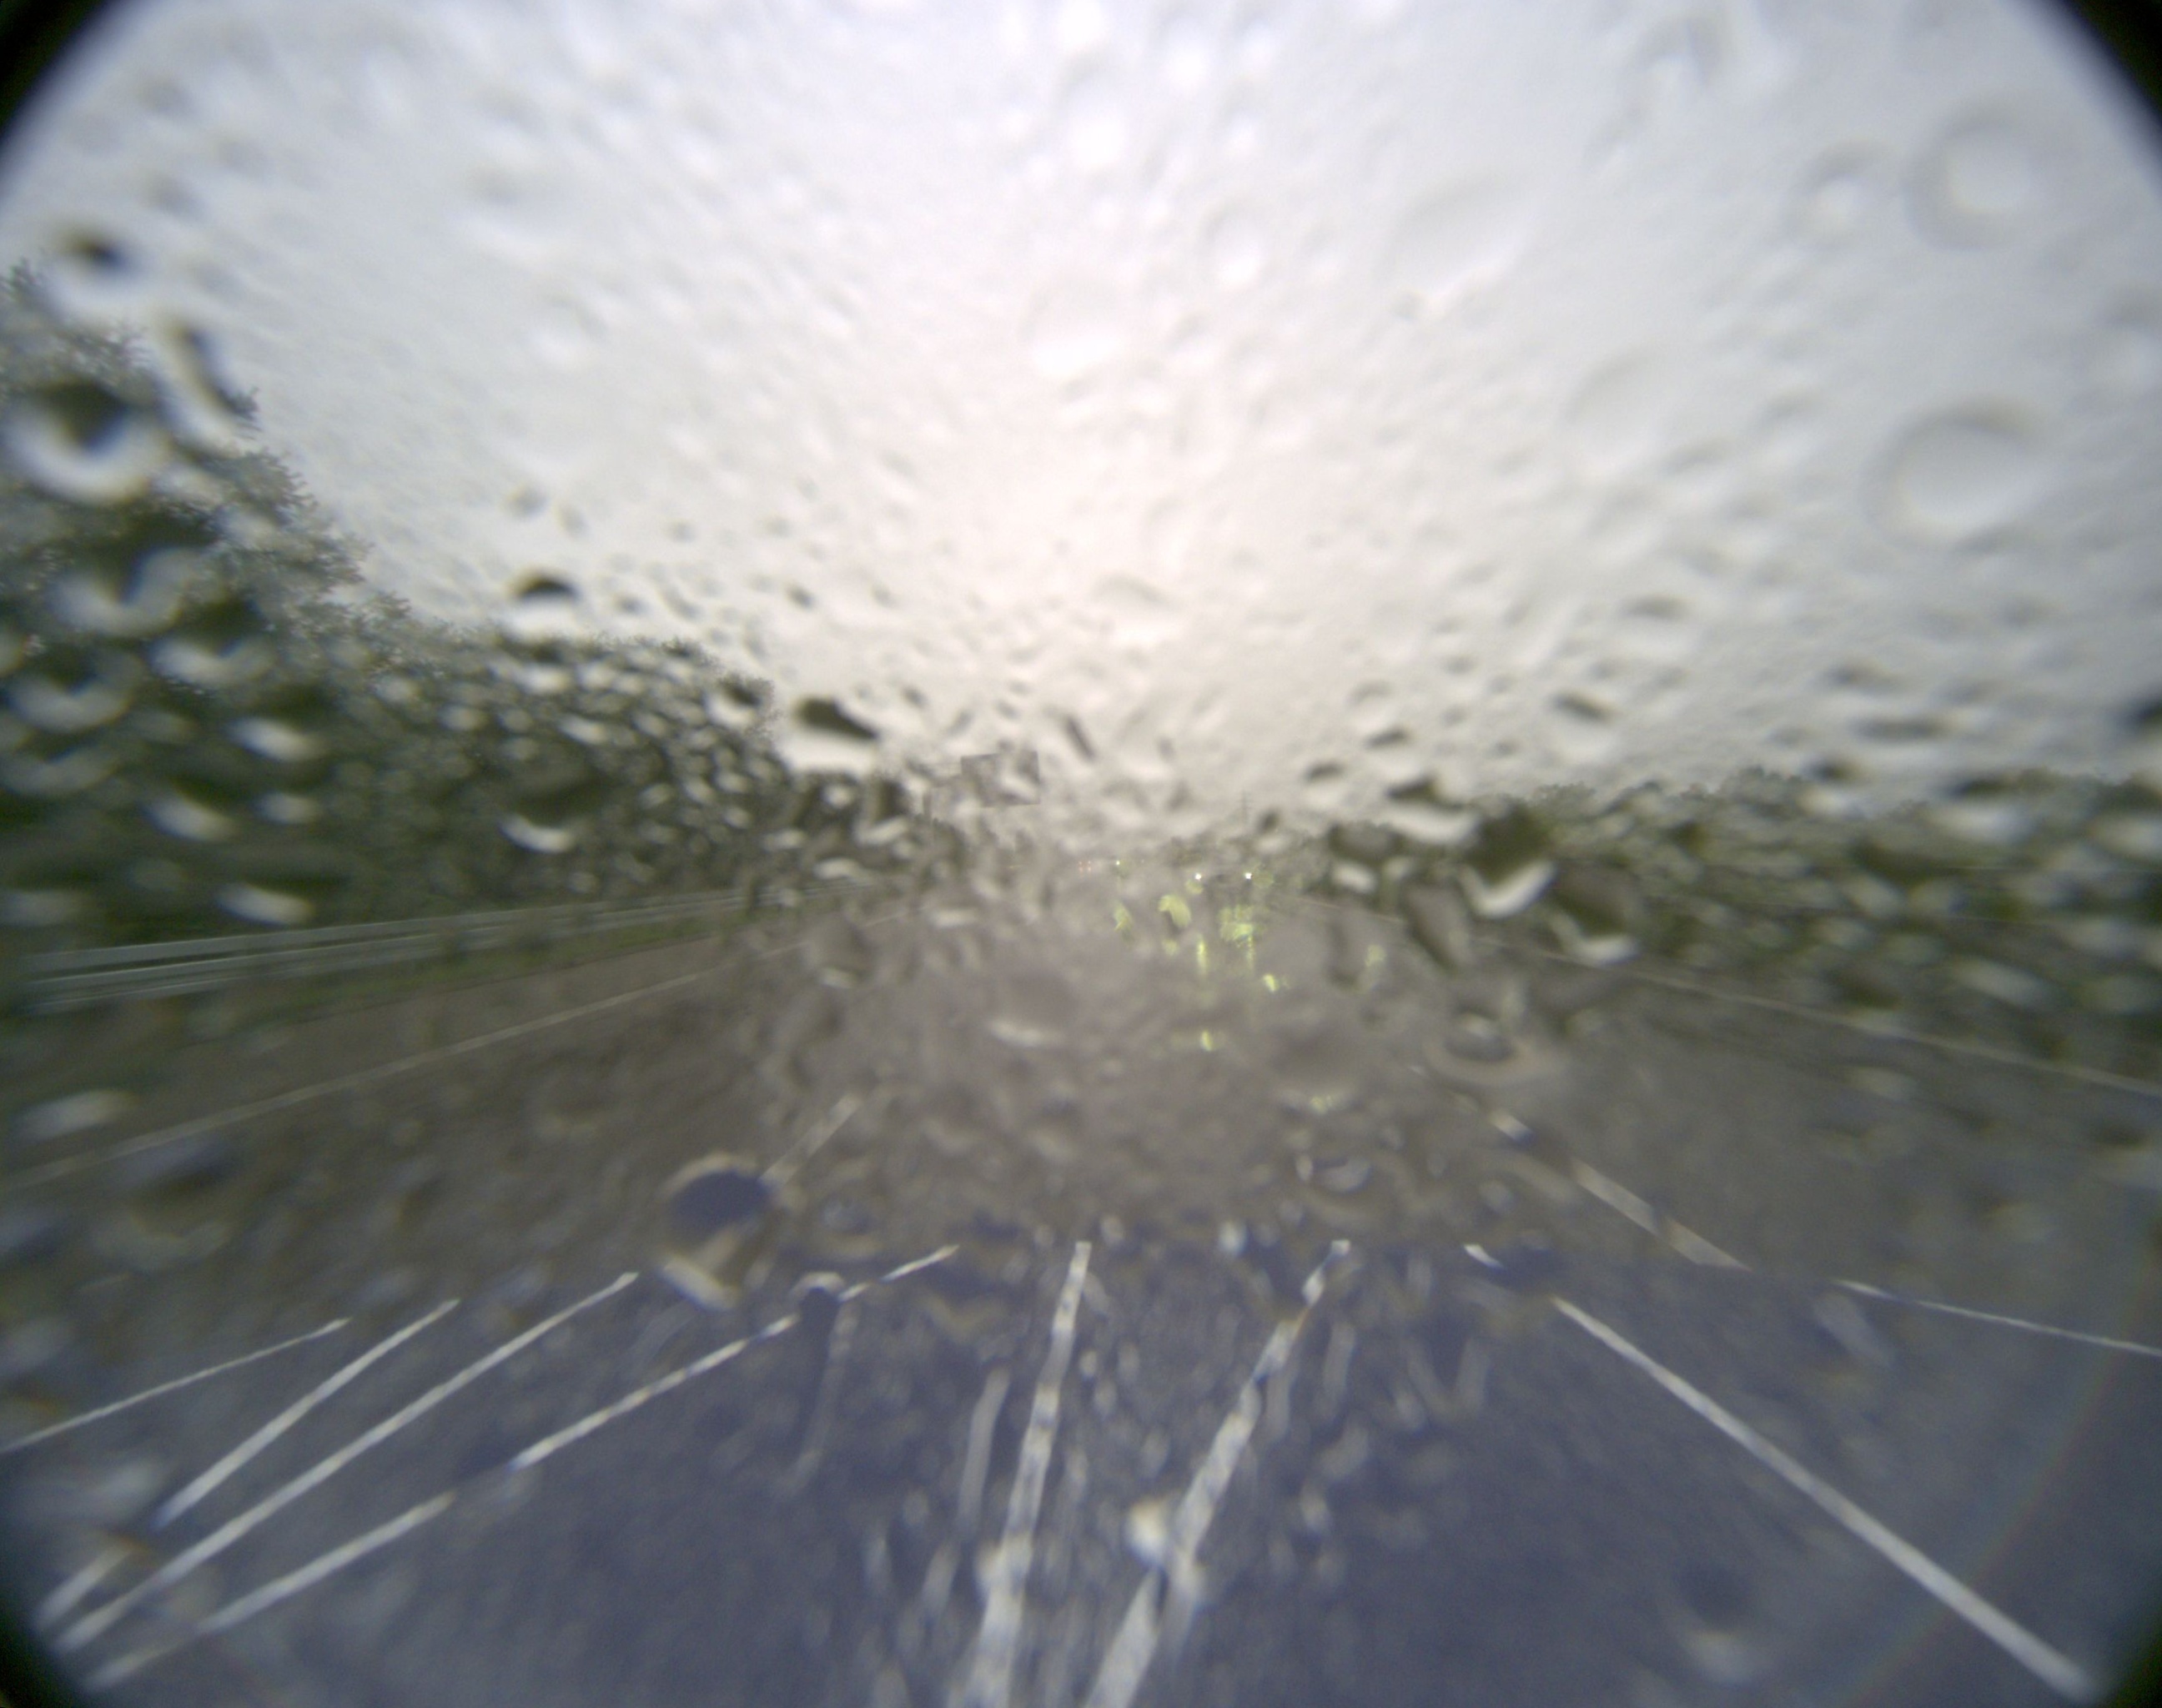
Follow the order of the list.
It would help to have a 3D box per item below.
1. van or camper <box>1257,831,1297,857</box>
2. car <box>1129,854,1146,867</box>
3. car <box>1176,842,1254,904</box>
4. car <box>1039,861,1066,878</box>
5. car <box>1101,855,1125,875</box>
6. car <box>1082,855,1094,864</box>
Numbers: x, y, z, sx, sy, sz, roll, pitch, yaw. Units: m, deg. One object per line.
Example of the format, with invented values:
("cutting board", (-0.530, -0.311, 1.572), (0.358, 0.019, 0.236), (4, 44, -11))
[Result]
("van or camper", (25.249, -1.290, 98.296), (2.894, 3.068, 9.515), (-3, 0, 2))
("car", (6.498, 0.721, 88.073), (1.753, 1.369, 4.000), (-3, 0, 3))
("car", (4.262, 0.556, 24.801), (2.046, 1.763, 4.502), (-2, 0, 5))
("car", (-2.331, 1.238, 62.281), (1.753, 1.205, 4.001), (-5, 0, 3))
("car", (2.560, 0.898, 61.270), (1.753, 1.406, 4.001), (-5, 0, 3))
("car", (1.150, 0.879, 120.589), (1.753, 1.205, 4.001), (-5, 0, 3))
